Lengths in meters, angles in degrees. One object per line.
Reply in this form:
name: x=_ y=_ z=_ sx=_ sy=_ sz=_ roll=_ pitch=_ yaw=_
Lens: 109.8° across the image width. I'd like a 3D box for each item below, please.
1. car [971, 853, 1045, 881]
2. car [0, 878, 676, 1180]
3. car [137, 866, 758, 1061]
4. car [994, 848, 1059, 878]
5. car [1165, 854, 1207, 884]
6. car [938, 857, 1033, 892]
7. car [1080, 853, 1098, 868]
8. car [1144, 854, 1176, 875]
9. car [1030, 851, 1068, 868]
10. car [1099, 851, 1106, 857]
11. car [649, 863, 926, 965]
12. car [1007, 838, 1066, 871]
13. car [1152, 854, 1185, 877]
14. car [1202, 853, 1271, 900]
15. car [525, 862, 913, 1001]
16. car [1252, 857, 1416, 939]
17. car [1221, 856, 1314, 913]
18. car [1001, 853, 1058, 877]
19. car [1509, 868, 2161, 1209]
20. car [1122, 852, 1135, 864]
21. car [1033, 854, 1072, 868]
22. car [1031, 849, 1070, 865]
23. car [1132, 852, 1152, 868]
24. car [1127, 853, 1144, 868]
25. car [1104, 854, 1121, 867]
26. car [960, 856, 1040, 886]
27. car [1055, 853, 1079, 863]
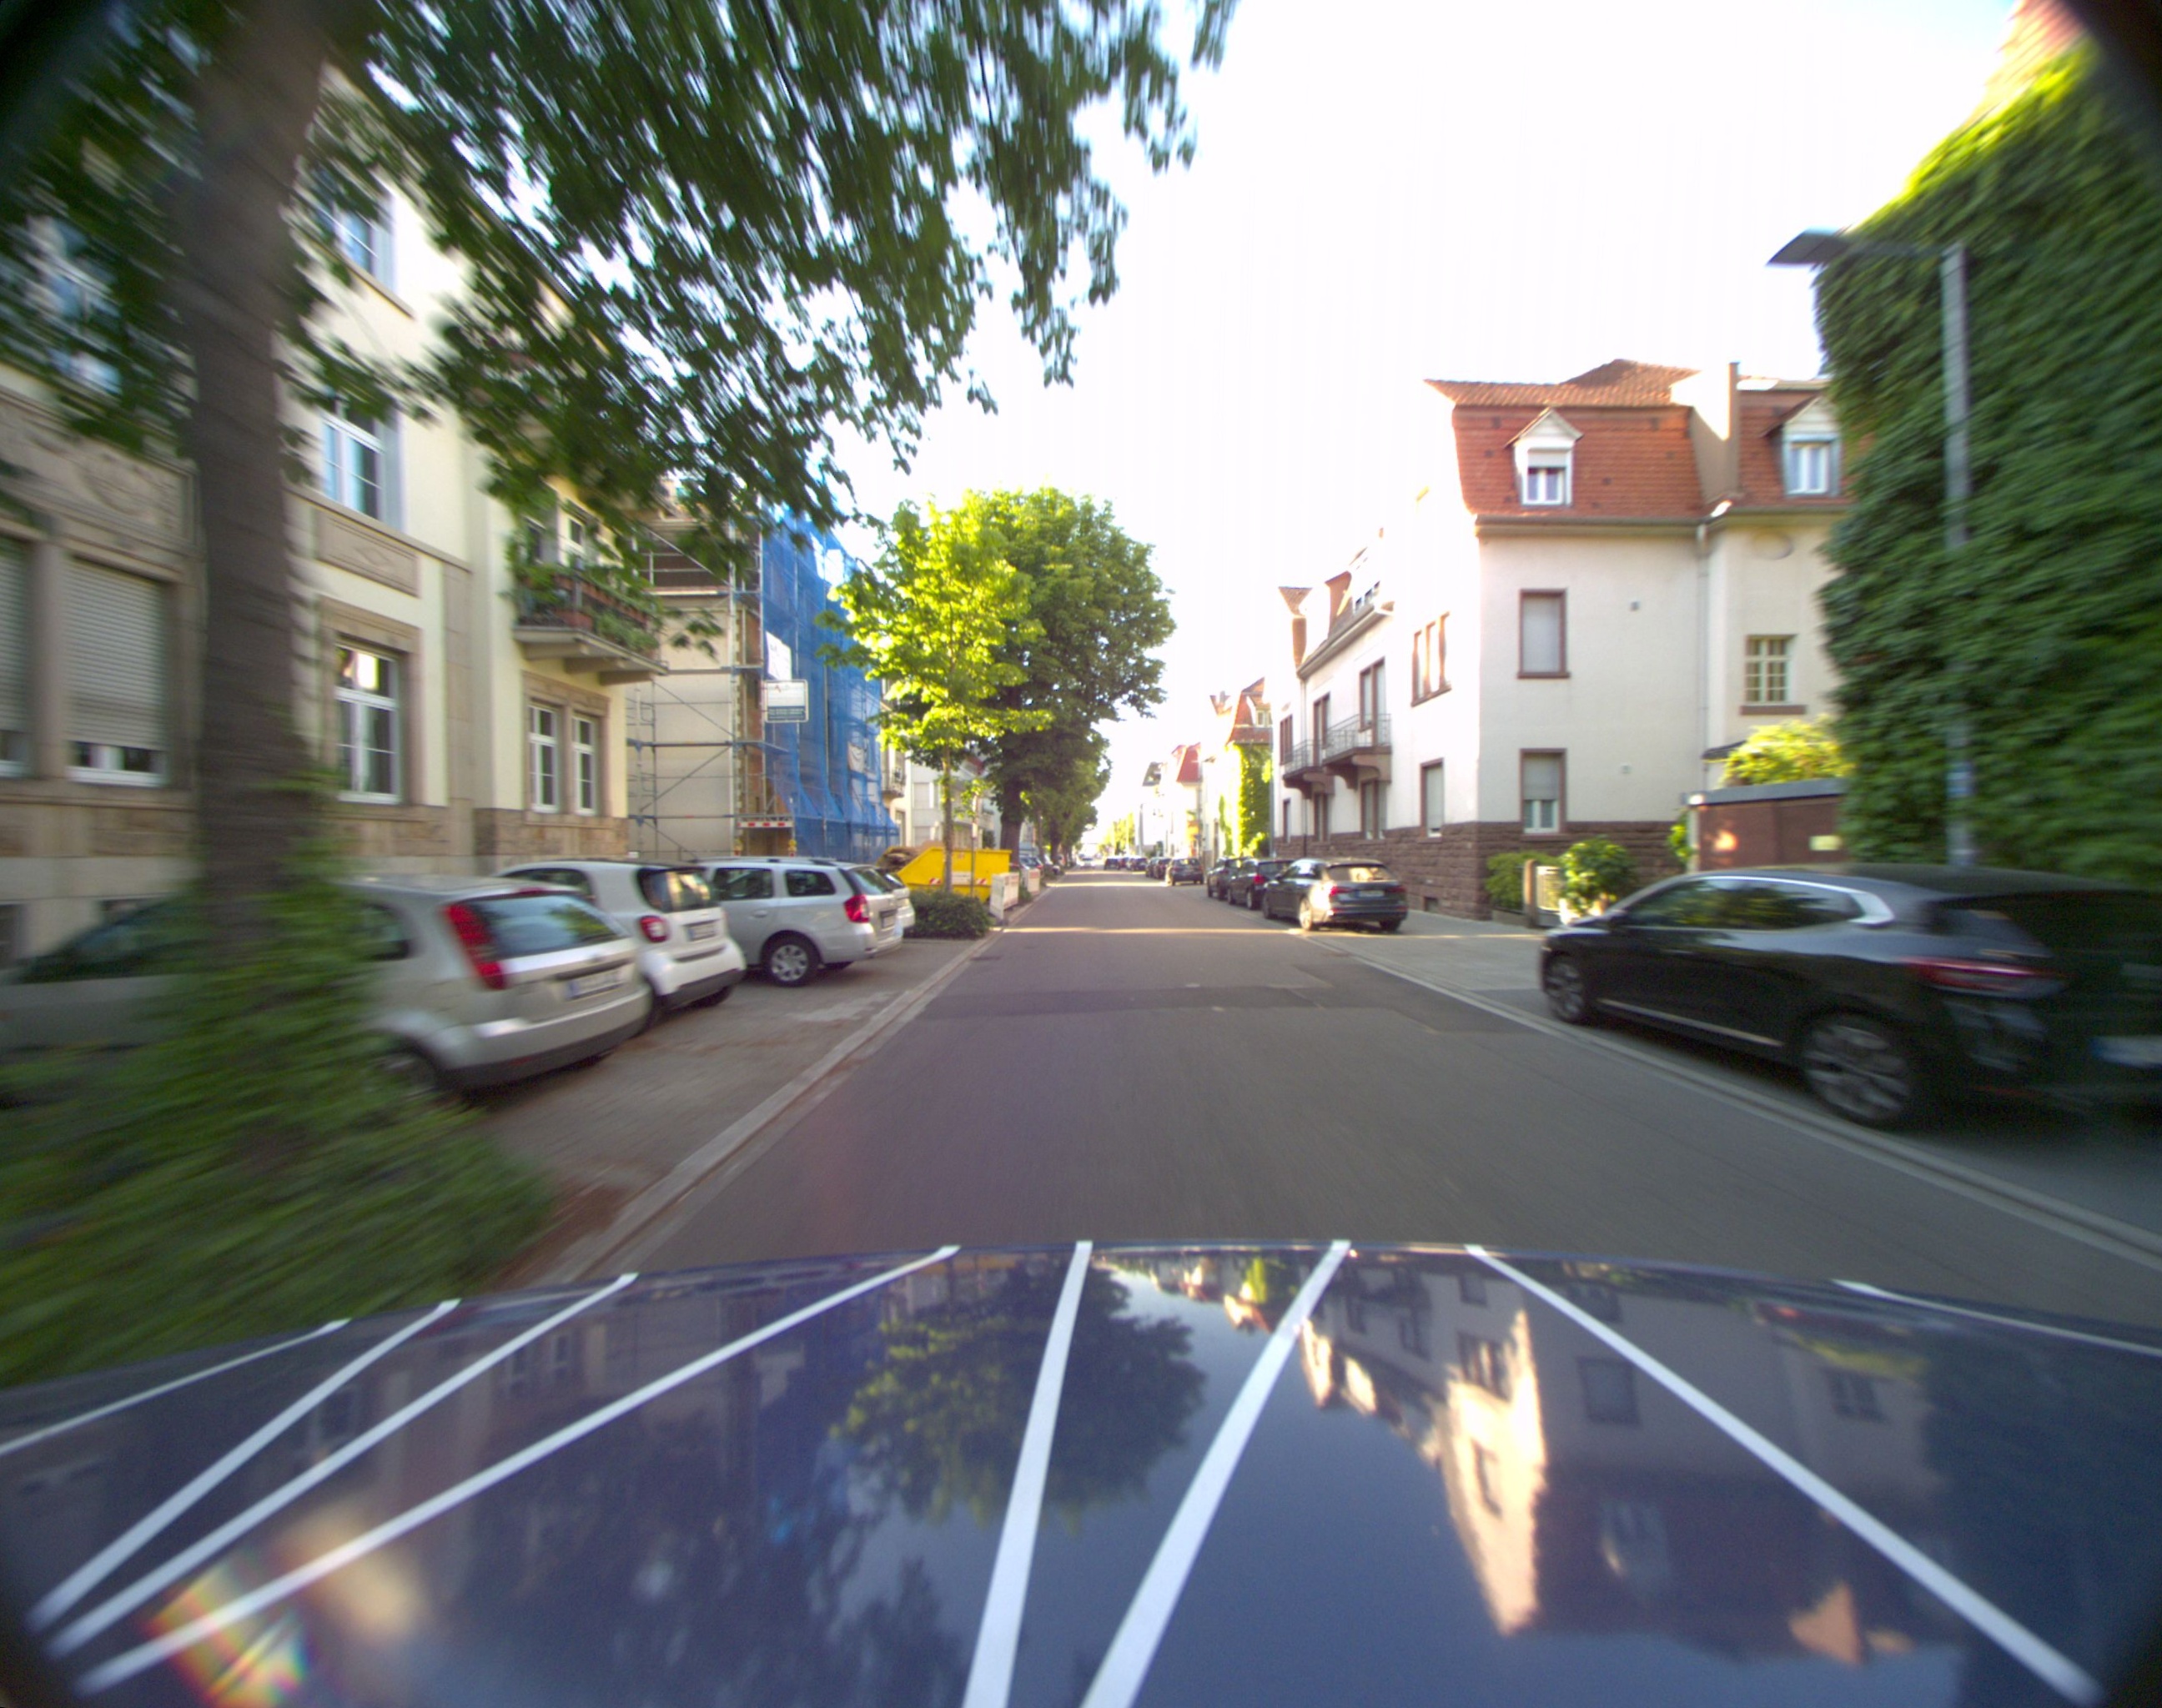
car: x=-4.383 y=0.771 z=45.995 sx=4.343 sy=1.673 sz=1.705 roll=0 pitch=0 yaw=-2
car: x=-4.897 y=0.930 z=4.779 sx=3.757 sy=1.454 sz=1.734 roll=1 pitch=0 yaw=0
car: x=-5.616 y=0.921 z=7.178 sx=4.325 sy=1.526 sz=1.828 roll=1 pitch=0 yaw=0
car: x=-3.841 y=0.650 z=53.953 sx=4.481 sy=2.002 sz=1.896 roll=-1 pitch=1 yaw=-1
car: x=5.561 y=0.755 z=40.646 sx=1.657 sy=1.438 sz=4.005 roll=-2 pitch=0 yaw=1
car: x=-4.283 y=0.914 z=34.529 sx=3.996 sy=1.483 sz=1.851 roll=1 pitch=1 yaw=2
car: x=1.010 y=0.758 z=94.317 sx=2.098 sy=1.700 sz=4.606 roll=-1 pitch=0 yaw=1
car: x=5.774 y=0.749 z=56.053 sx=1.714 sy=1.461 sz=4.633 roll=-2 pitch=0 yaw=-1
car: x=-3.620 y=0.568 z=86.412 sx=4.313 sy=1.874 sz=1.758 roll=0 pitch=1 yaw=-2
car: x=6.549 y=-0.046 z=232.755 sx=1.913 sy=1.679 sz=4.198 roll=-3 pitch=0 yaw=1
car: x=-4.665 y=0.905 z=12.385 sx=3.860 sy=1.454 sz=1.687 roll=1 pitch=0 yaw=5
car: x=-3.934 y=0.046 z=67.126 sx=5.109 sy=2.885 sz=2.075 roll=0 pitch=0 yaw=-2
car: x=5.804 y=0.759 z=50.766 sx=1.658 sy=1.407 sz=4.167 roll=-2 pitch=0 yaw=0
car: x=5.384 y=0.742 z=26.752 sx=1.657 sy=1.477 sz=3.764 roll=-2 pitch=0 yaw=1
car: x=-4.434 y=0.906 z=9.699 sx=4.154 sy=1.526 sz=1.687 roll=1 pitch=0 yaw=3
car: x=5.216 y=0.827 z=16.422 sx=1.797 sy=1.453 sz=4.776 roll=-1 pitch=0 yaw=-2
car: x=5.374 y=0.825 z=22.395 sx=1.658 sy=1.438 sz=3.843 roll=-2 pitch=0 yaw=-2
car: x=-3.854 y=0.798 z=56.774 sx=4.188 sy=1.714 sz=1.764 roll=-1 pitch=1 yaw=-7
car: x=5.079 y=0.883 z=5.517 sx=1.653 sy=1.412 sz=4.098 roll=-2 pitch=0 yaw=1
car: x=6.160 y=0.519 z=98.870 sx=1.654 sy=1.474 sz=3.429 roll=-3 pitch=0 yaw=2
car: x=-3.169 y=0.750 z=84.029 sx=4.313 sy=1.532 sz=1.758 roll=0 pitch=0 yaw=-2
car: x=-3.797 y=0.420 z=95.186 sx=4.819 sy=1.925 sz=1.950 roll=0 pitch=0 yaw=1
car: x=5.924 y=0.605 z=74.388 sx=1.657 sy=1.446 sz=4.630 roll=-2 pitch=0 yaw=1
car: x=6.026 y=0.705 z=84.414 sx=1.585 sy=1.511 sz=3.706 roll=-2 pitch=0 yaw=-1
car: x=3.527 y=0.732 z=85.281 sx=1.776 sy=1.440 sz=4.000 roll=0 pitch=0 yaw=0
car: x=-4.405 y=0.903 z=41.783 sx=4.166 sy=1.530 sz=1.851 roll=1 pitch=1 yaw=0
car: x=-2.093 y=0.617 z=114.653 sx=3.680 sy=1.434 sz=1.601 roll=0 pitch=0 yaw=1
